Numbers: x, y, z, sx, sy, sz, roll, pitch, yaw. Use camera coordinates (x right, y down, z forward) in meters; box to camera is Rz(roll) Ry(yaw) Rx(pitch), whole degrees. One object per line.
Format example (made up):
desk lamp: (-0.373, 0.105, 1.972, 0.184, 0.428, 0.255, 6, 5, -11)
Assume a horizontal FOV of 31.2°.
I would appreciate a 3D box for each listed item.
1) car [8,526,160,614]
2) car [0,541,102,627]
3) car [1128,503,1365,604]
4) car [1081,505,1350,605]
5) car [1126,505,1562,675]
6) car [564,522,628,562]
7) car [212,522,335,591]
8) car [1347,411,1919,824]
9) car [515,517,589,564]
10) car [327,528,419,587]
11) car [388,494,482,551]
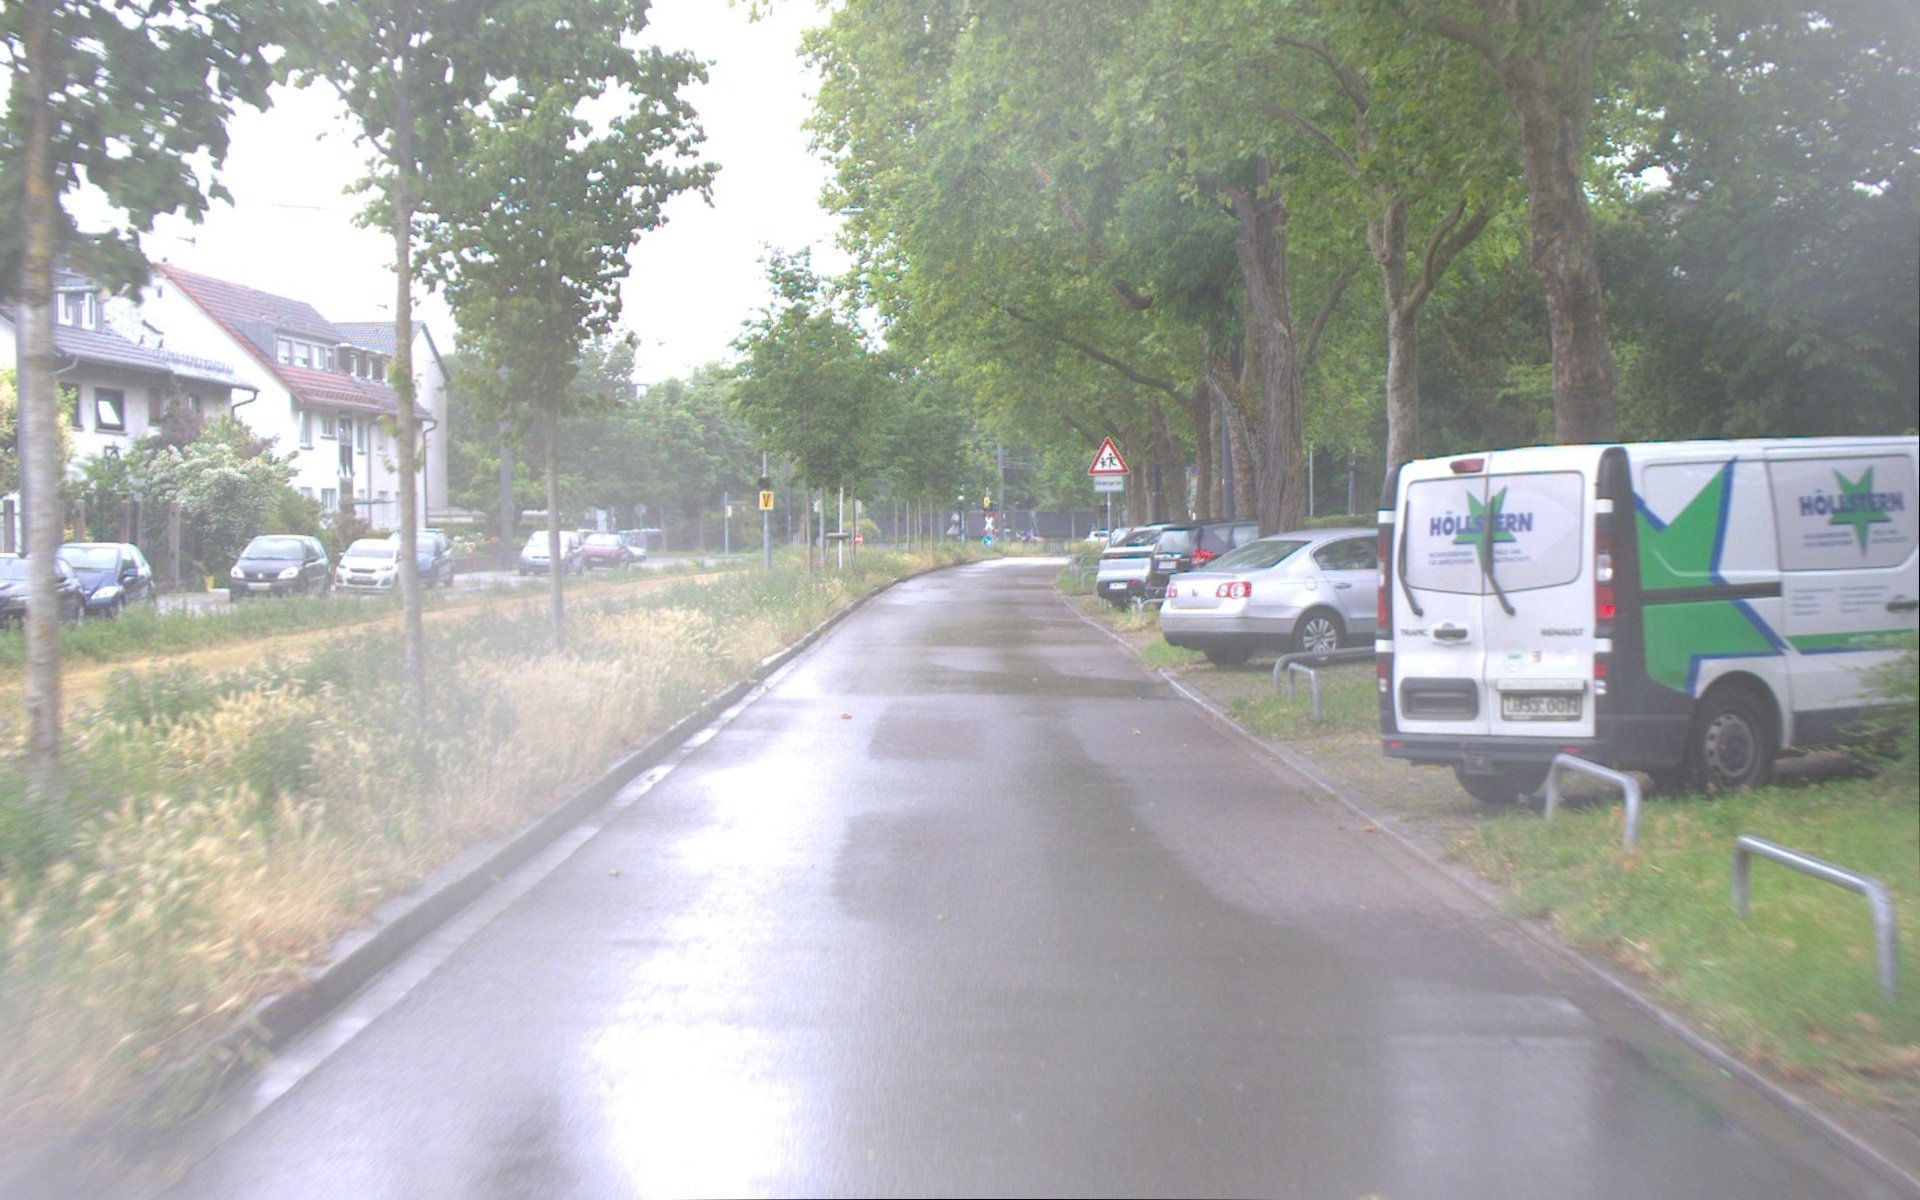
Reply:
car: (-16.496, -0.593, 64.873, 1.873, 1.545, 3.870, 1, 2, 0)
car: (-16.513, -0.306, 59.838, 1.993, 1.346, 4.240, 1, 2, 1)
car: (4.824, -0.799, 57.679, 3.702, 1.561, 1.619, -3, 2, -32)
car: (4.733, -0.844, 63.364, 4.761, 1.662, 1.994, -3, 2, -36)
car: (4.291, -0.152, 38.173, 4.546, 1.539, 1.888, -5, 3, -32)
car: (-14.613, -2.344, 138.315, 1.993, 1.483, 4.205, 1, 2, 1)
car: (-16.325, -1.054, 81.948, 1.993, 1.511, 4.205, 1, 2, 1)
car: (4.767, -0.035, 19.347, 5.014, 2.006, 2.000, -4, 3, -35)
car: (-14.739, -2.172, 124.364, 1.993, 1.575, 4.517, 1, 2, 1)
car: (-15.995, -1.174, 93.760, 1.796, 1.483, 3.597, 1, 2, 1)
car: (-15.709, -2.344, 103.041, 1.993, 1.608, 4.413, 1, 2, 1)
